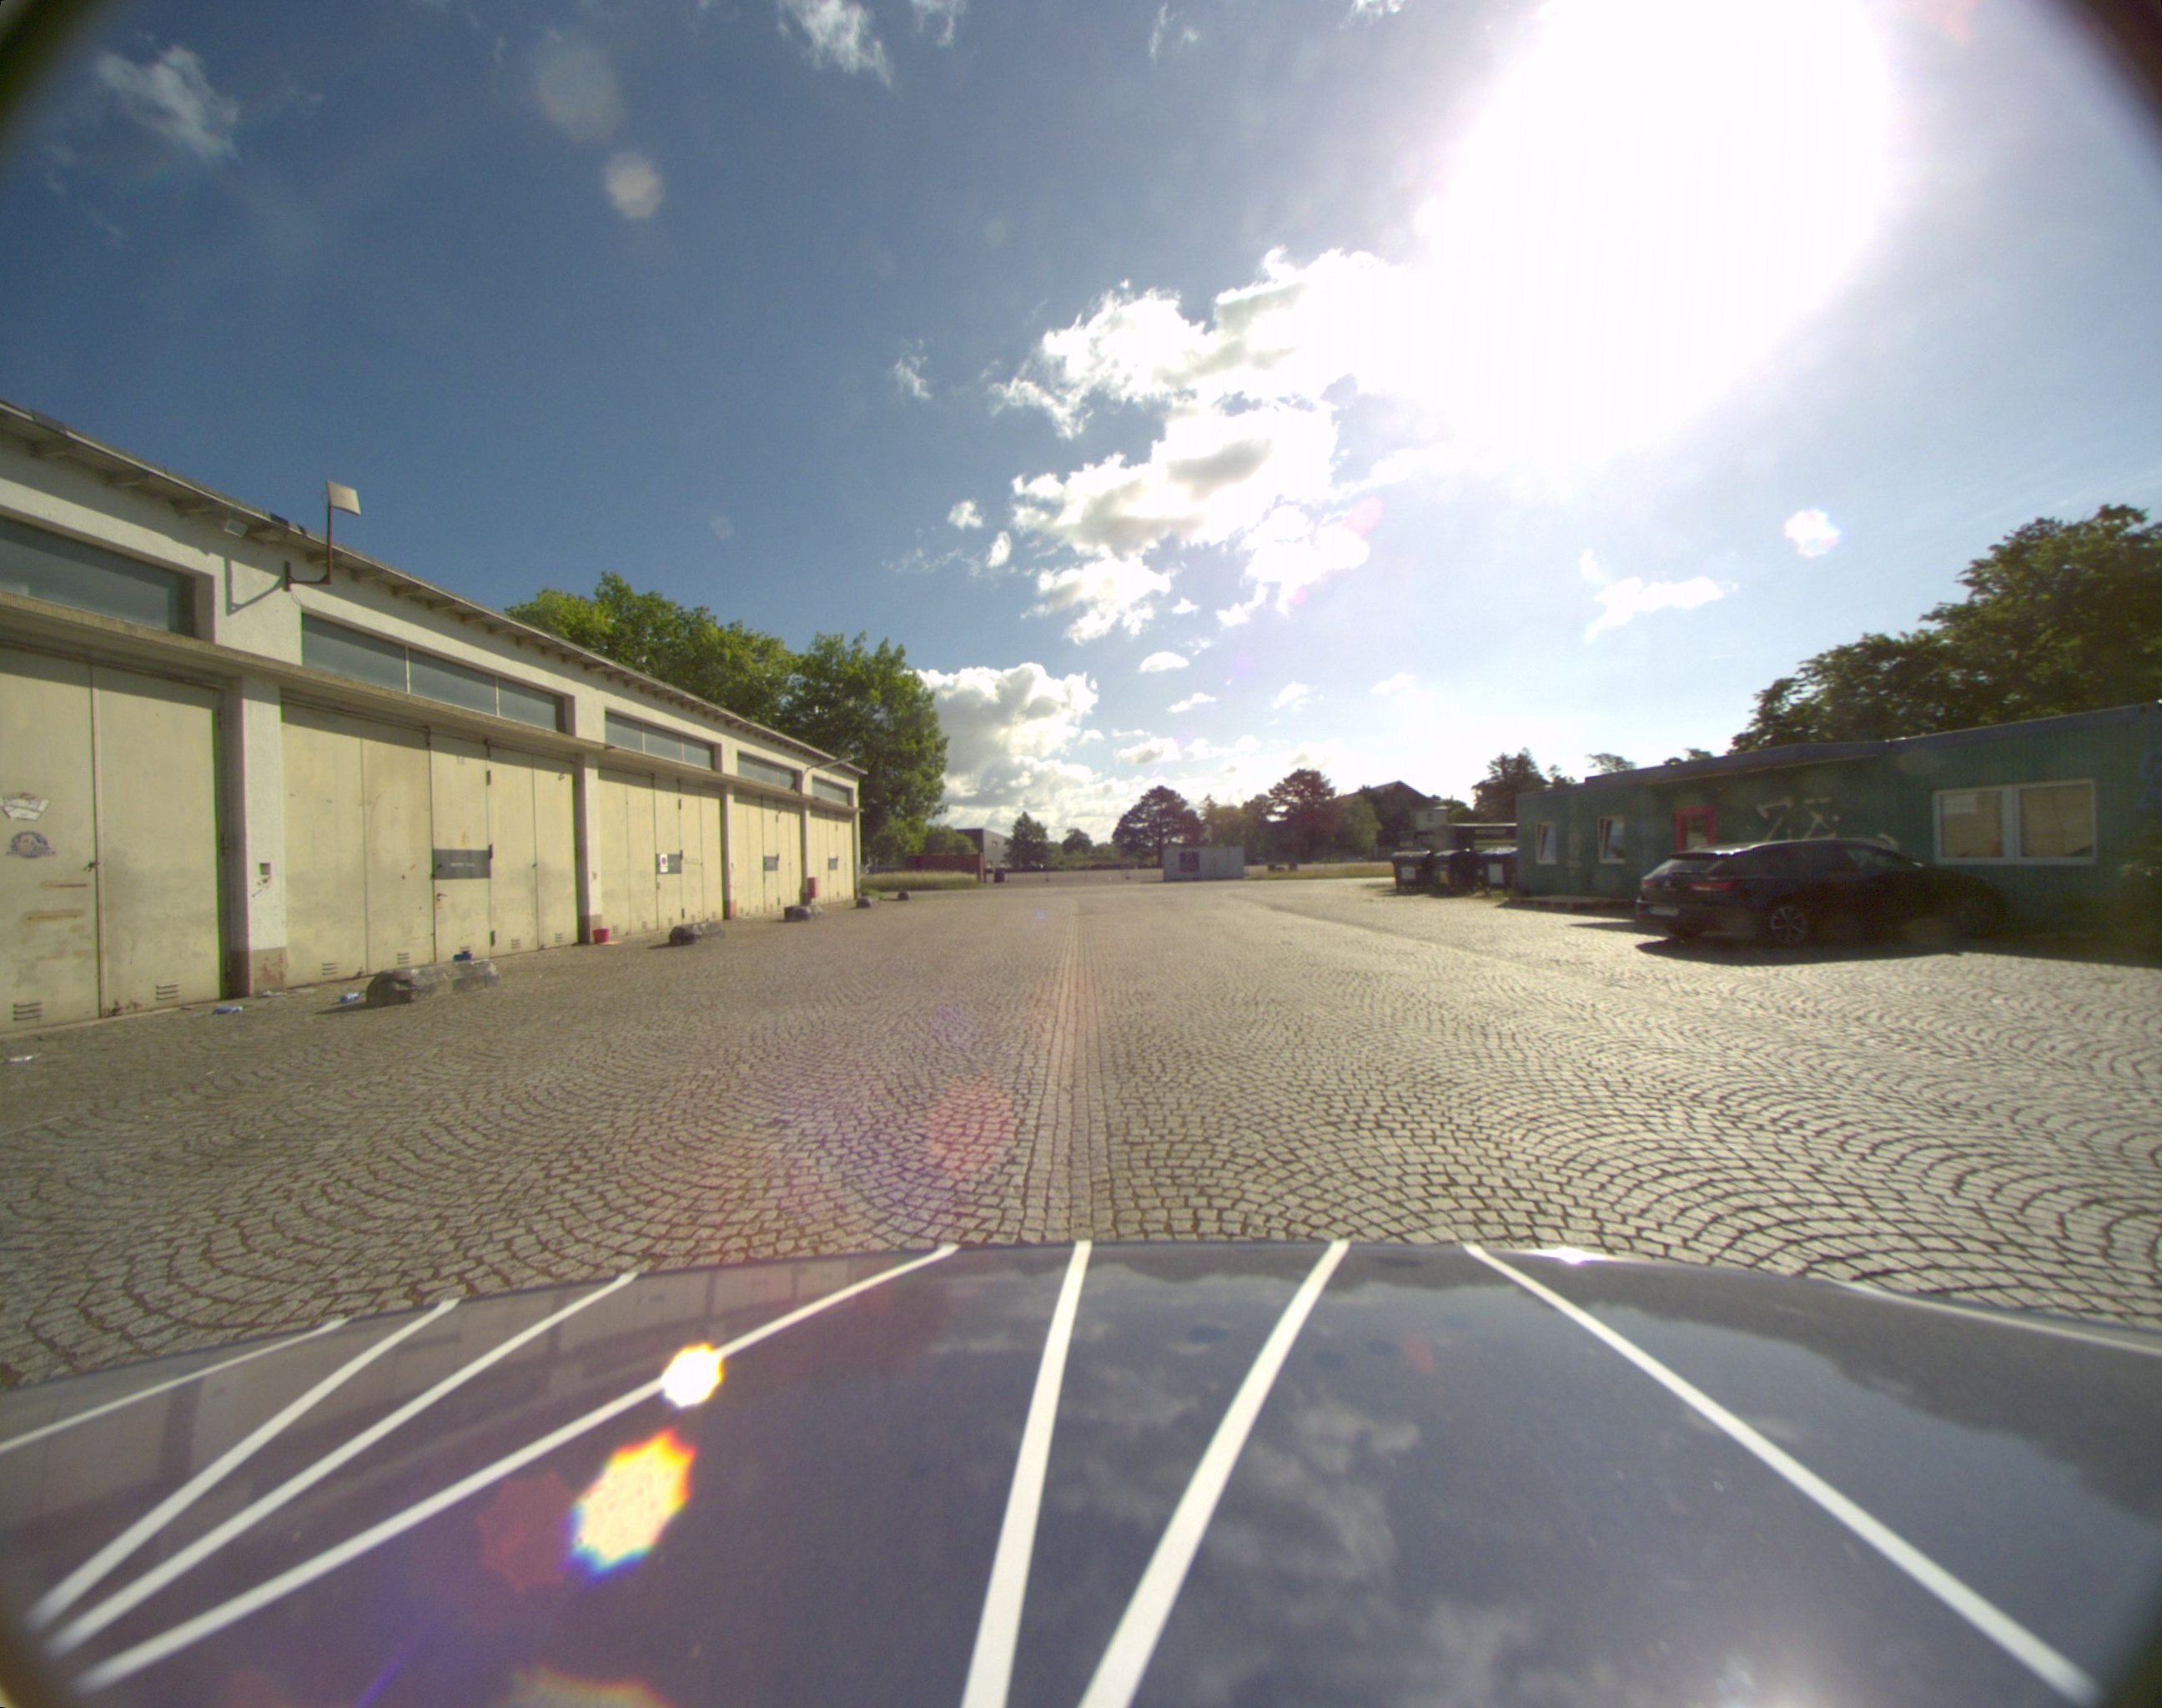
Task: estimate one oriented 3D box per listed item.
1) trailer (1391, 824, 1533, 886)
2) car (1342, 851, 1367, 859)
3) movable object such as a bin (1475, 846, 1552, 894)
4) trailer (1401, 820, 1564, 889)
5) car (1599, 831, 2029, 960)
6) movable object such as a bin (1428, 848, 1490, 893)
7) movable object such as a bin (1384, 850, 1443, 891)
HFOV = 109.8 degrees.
[{"bbox_3d":[15.421,0.053,30.967,4.666,2.284,2.137,-2,0,1],"label":"trailer"},{"bbox_3d":[53.869,0.211,149.668,3.998,1.573,1.999,-2,0,-4],"label":"car"},{"bbox_3d":[13.435,0.490,23.633,1.386,1.378,1.534,-2,0,-12],"label":"movable object such as a bin"},{"bbox_3d":[14.958,0.002,28.482,4.973,2.341,2.095,-2,0,-4],"label":"trailer"},{"bbox_3d":[10.421,0.547,11.056,4.427,1.456,1.999,-3,0,-3],"label":"car"},{"bbox_3d":[12.545,0.540,25.279,1.299,1.414,1.536,-2,0,1],"label":"movable object such as a bin"},{"bbox_3d":[11.995,0.592,27.421,1.389,1.378,1.531,-2,0,-44],"label":"movable object such as a bin"}]
